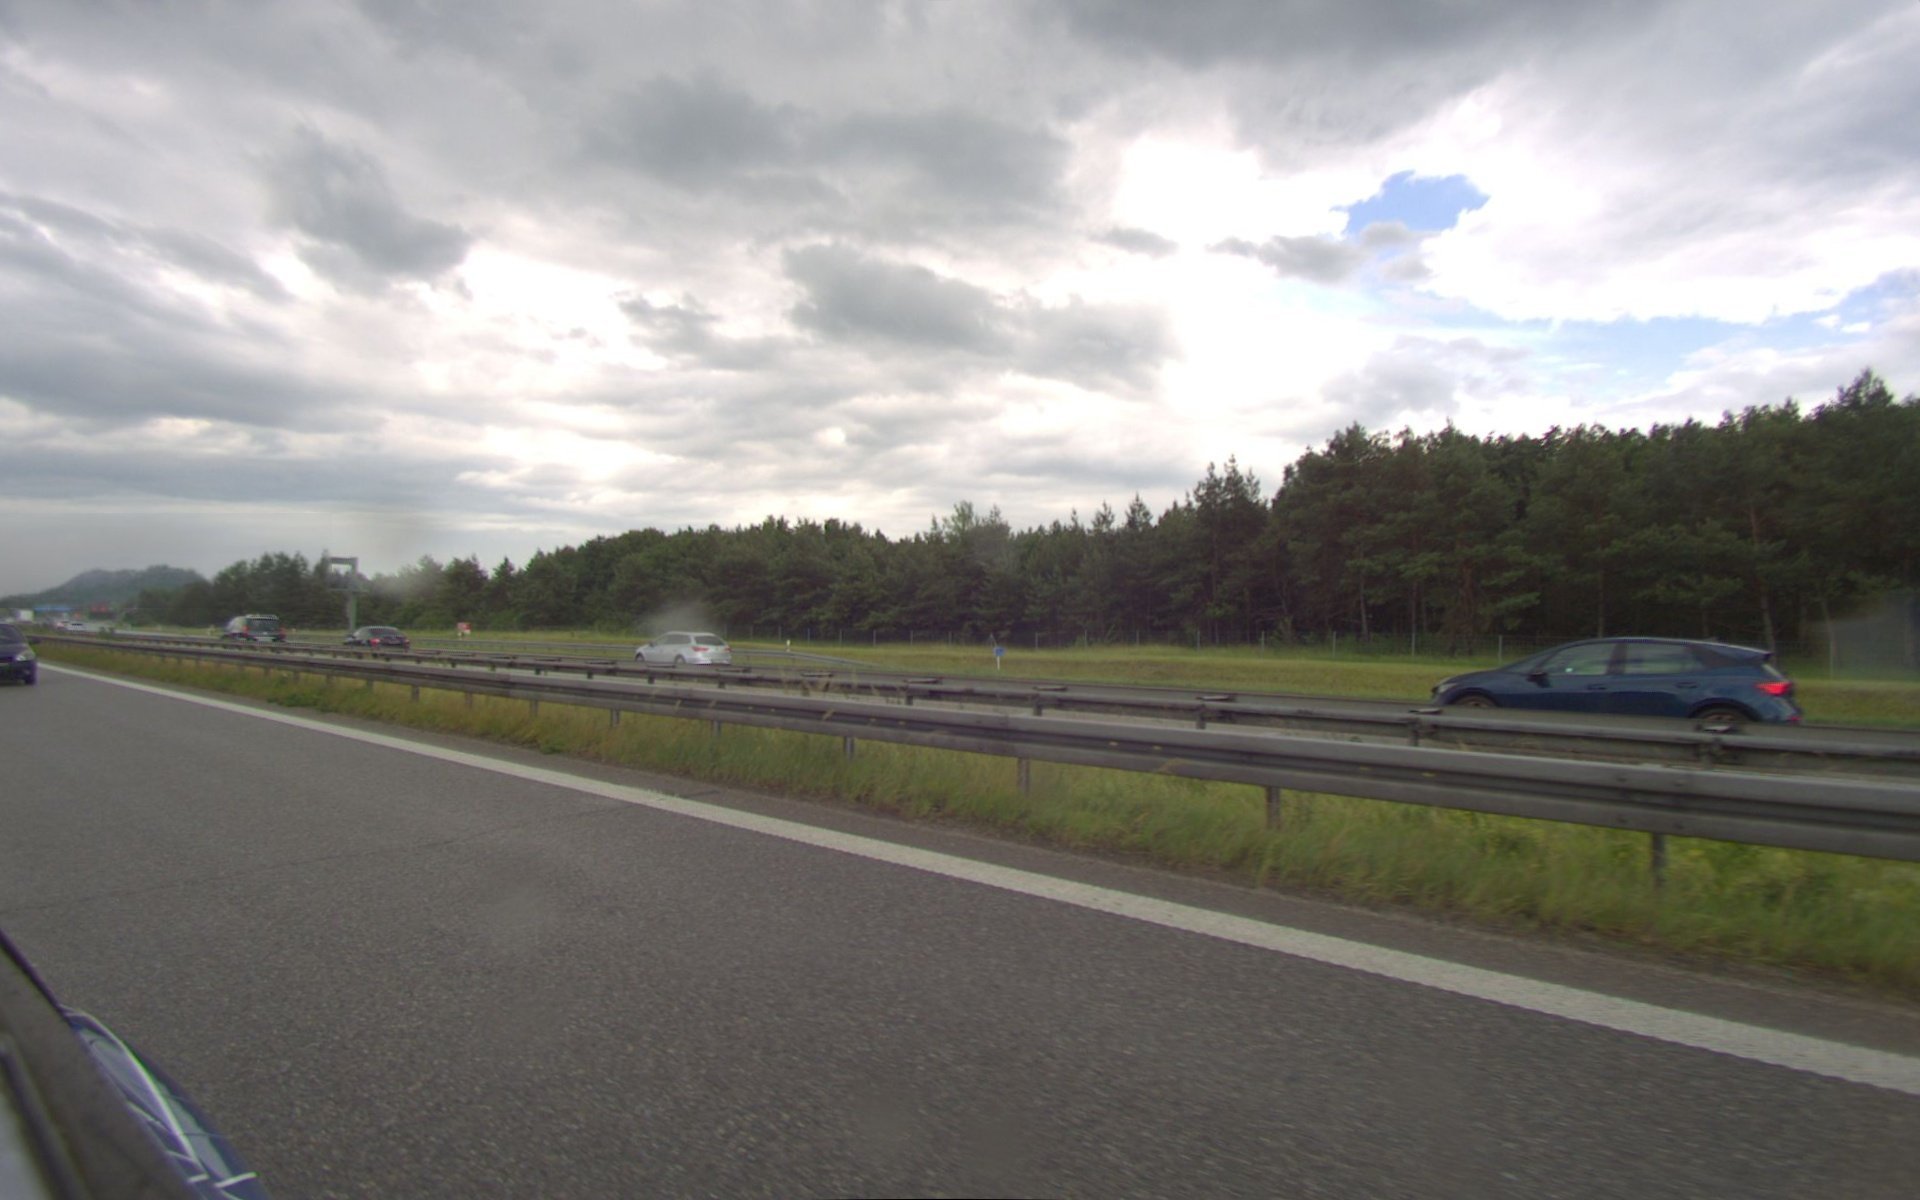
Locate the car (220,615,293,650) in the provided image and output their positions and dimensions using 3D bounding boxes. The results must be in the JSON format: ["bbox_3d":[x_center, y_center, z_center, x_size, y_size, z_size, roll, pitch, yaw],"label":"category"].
[{"bbox_3d":[-32.297,1.450,46.415,4.117,1.483,1.971,-1,0,44],"label":"car"}]

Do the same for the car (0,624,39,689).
[{"bbox_3d":[-22.117,1.239,22.690,4.431,1.339,1.786,-1,0,43],"label":"car"}]

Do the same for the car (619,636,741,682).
[{"bbox_3d":[-9.903,2.032,35.580,4.817,1.483,1.772,-1,-3,42],"label":"car"}]

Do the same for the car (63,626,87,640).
[{"bbox_3d":[-108.073,4.020,123.527,3.998,1.586,1.701,-1,-2,42],"label":"car"}]

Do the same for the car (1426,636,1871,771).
[{"bbox_3d":[8.959,1.227,13.487,4.649,1.467,1.896,-1,-2,41],"label":"car"}]

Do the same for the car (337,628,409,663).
[{"bbox_3d":[-26.536,2.006,45.687,4.401,1.483,1.619,-1,-2,44],"label":"car"}]
